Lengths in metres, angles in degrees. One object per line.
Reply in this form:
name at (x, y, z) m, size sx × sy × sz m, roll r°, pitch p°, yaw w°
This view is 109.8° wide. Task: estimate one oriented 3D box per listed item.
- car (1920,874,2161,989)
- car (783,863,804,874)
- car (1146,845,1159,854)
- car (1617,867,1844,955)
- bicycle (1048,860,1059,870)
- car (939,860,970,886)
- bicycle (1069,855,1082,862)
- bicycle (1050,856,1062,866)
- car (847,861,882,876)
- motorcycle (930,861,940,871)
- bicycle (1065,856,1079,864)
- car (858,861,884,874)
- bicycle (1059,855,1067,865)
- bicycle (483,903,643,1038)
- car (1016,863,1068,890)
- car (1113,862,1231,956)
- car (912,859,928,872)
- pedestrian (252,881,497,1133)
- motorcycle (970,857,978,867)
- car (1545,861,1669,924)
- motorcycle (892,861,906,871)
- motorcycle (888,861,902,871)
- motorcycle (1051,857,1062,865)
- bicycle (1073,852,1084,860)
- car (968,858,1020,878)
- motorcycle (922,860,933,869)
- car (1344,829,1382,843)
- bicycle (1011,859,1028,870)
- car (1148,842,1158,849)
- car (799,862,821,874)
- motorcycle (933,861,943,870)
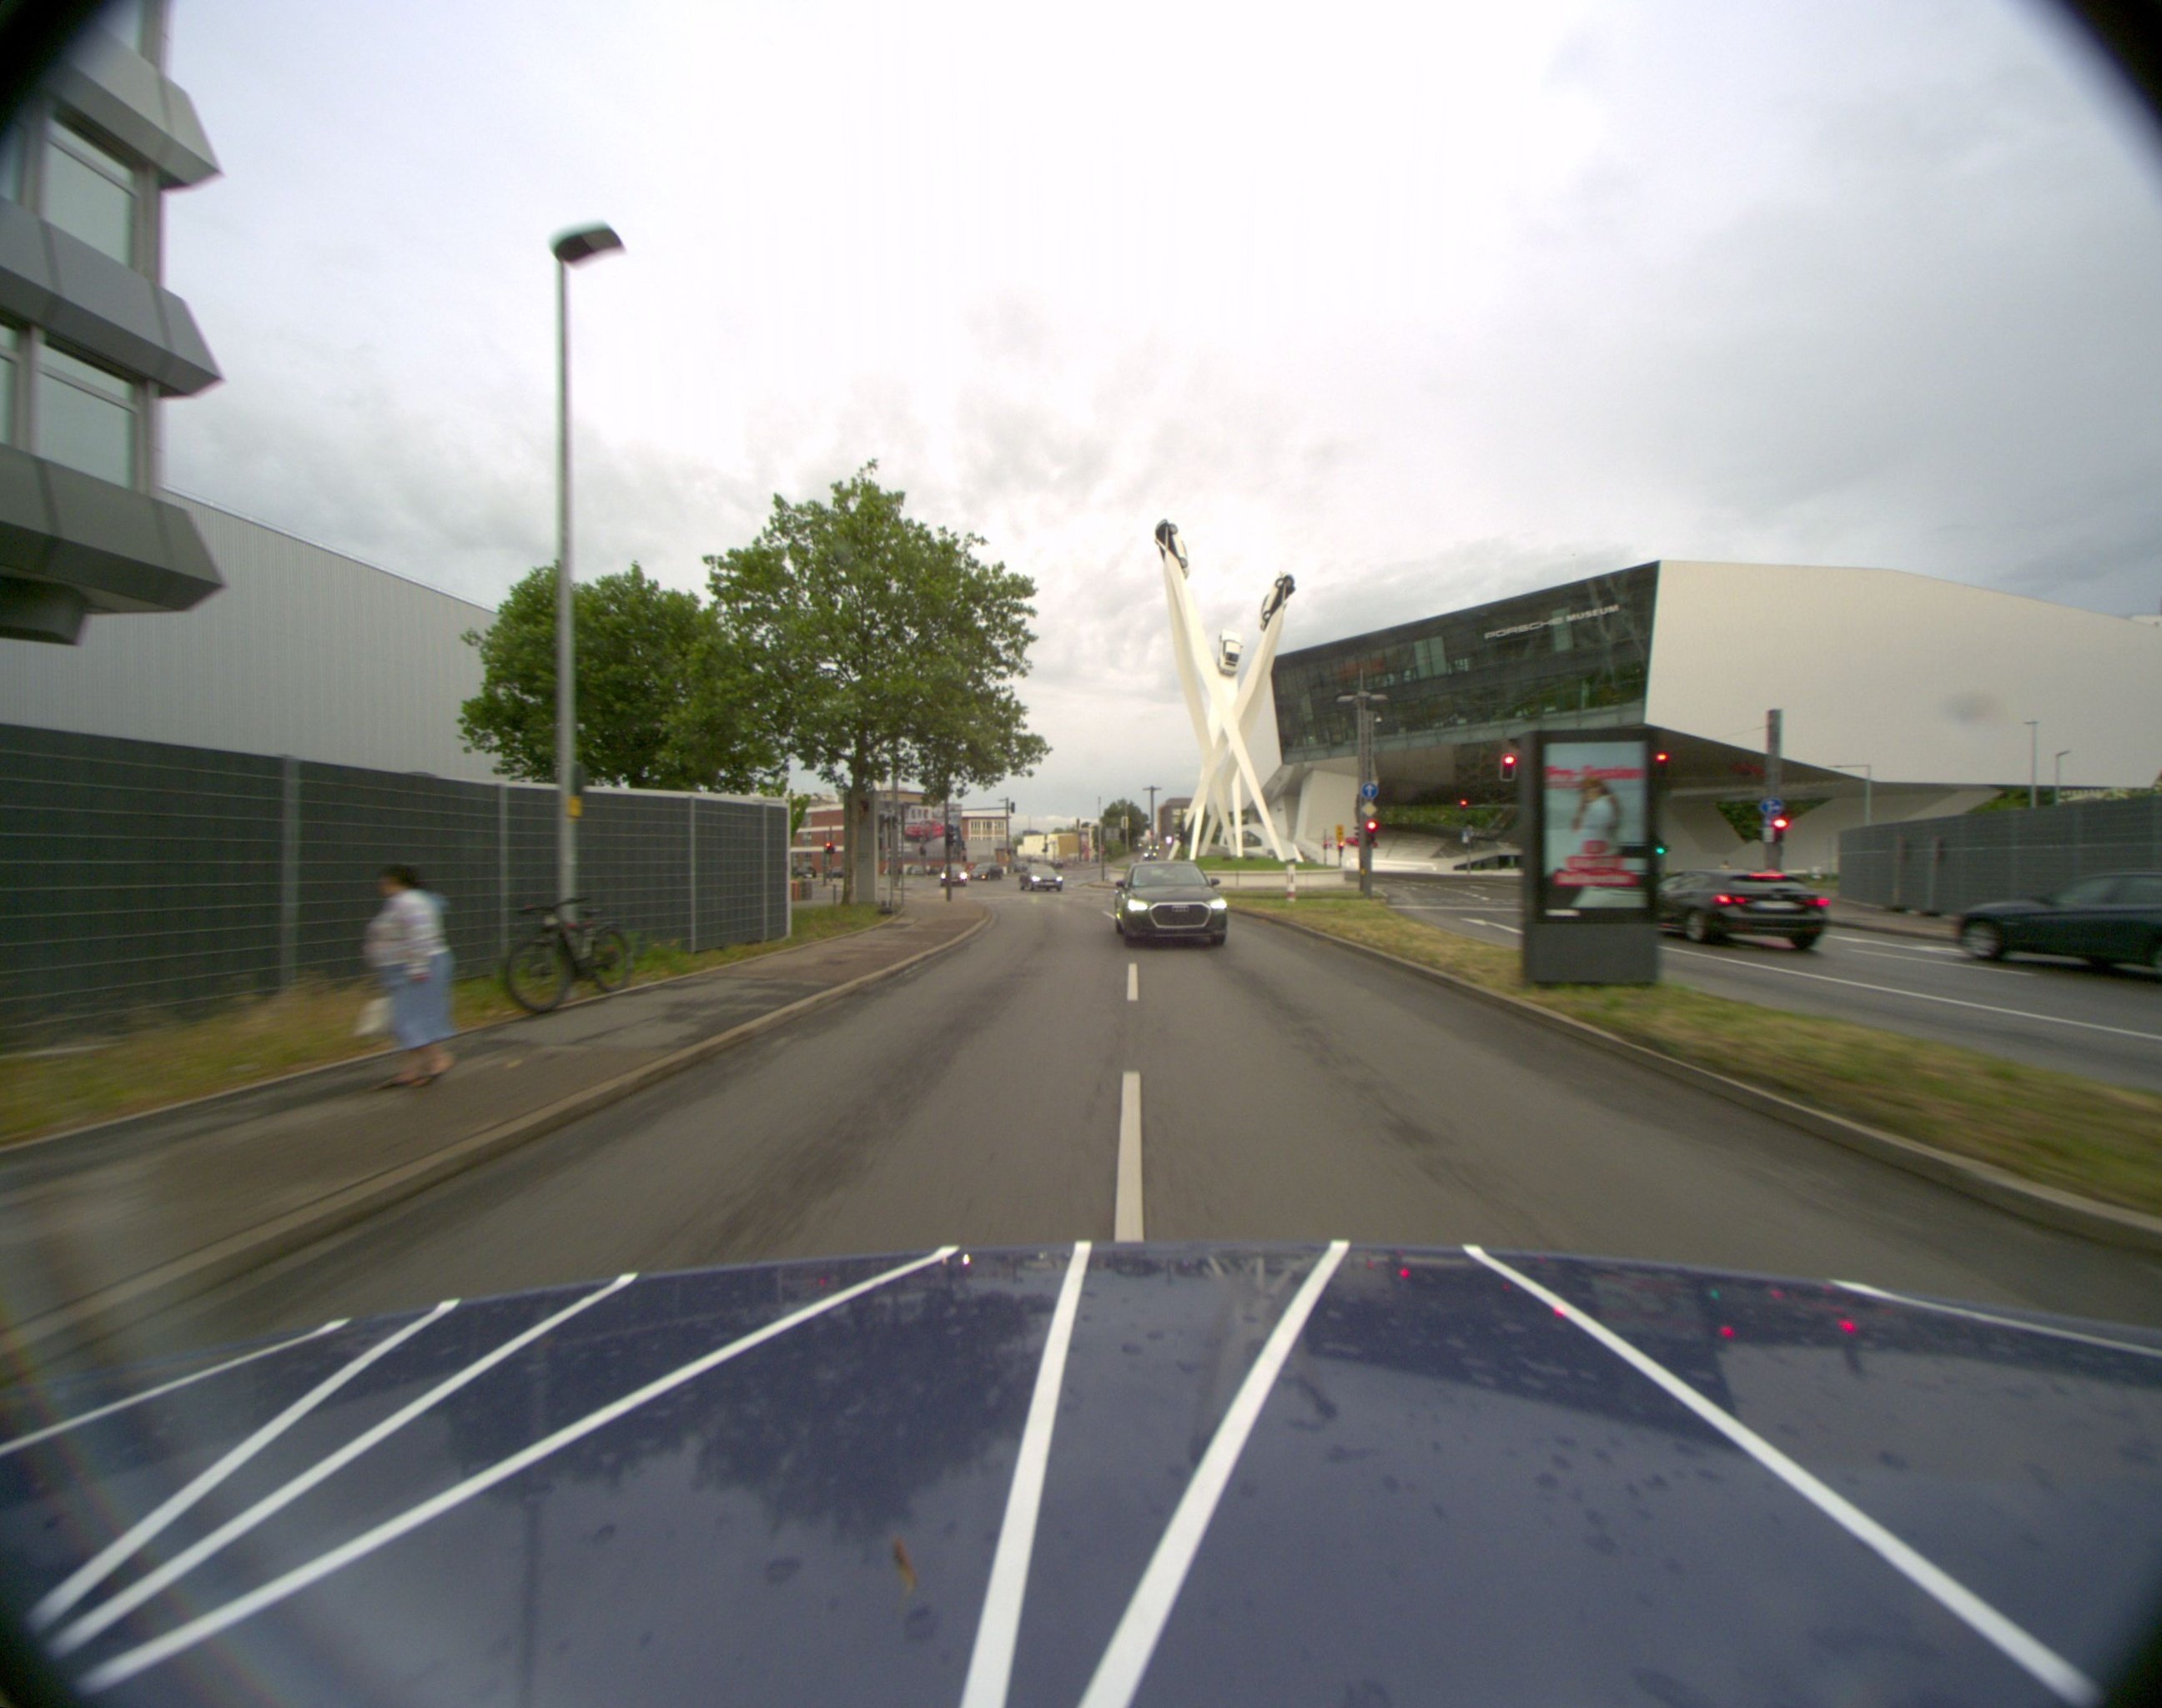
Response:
car at (15.350, 1.079, 11.049) m, size 1.786 × 1.445 × 4.564 m, roll 1°, pitch 0°, yaw 10°
car at (-40.599, 2.000, 107.173) m, size 1.462 × 1.436 × 3.379 m, roll -5°, pitch 3°, yaw -44°
car at (11.621, -0.712, 124.020) m, size 1.816 × 1.430 × 4.302 m, roll 0°, pitch 0°, yaw 2°
car at (12.812, 1.020, 15.399) m, size 1.785 × 1.431 × 4.401 m, roll 0°, pitch 0°, yaw 15°
bicycle at (-3.428, 1.350, 95.020) m, size 0.346 × 1.078 × 1.747 m, roll 1°, pitch 4°, yaw 41°
car at (-8.582, 1.245, 51.296) m, size 1.695 × 1.499 × 4.005 m, roll -3°, pitch 2°, yaw -14°
bicycle at (-0.696, 0.554, 100.516) m, size 1.613 × 0.916 × 0.422 m, roll -1°, pitch 2°, yaw 19°
bicycle at (-3.080, 0.897, 94.536) m, size 0.346 × 1.078 × 1.747 m, roll 1°, pitch 4°, yaw 41°
car at (-21.880, 1.415, 76.596) m, size 1.724 × 1.417 × 3.989 m, roll -2°, pitch 1°, yaw -43°
motorcycle at (-18.086, 1.506, 94.141) m, size 0.496 × 1.140 × 1.719 m, roll -5°, pitch 3°, yaw -38°
bicycle at (-1.117, 0.819, 97.784) m, size 1.742 × 0.956 × 0.422 m, roll -1°, pitch 3°, yaw 15°
car at (-25.993, 1.687, 94.191) m, size 2.745 × 1.484 × 1.557 m, roll -2°, pitch -1°, yaw 23°
bicycle at (-2.237, 0.746, 96.645) m, size 0.400 × 1.169 × 2.017 m, roll -1°, pitch 3°, yaw 16°
bicycle at (-5.297, 1.127, 7.922) m, size 0.342 × 1.112 × 1.973 m, roll 0°, pitch 0°, yaw -1°
car at (-2.265, 1.225, 43.247) m, size 1.820 × 1.430 × 4.295 m, roll 0°, pitch 0°, yaw -19°
car at (1.637, 0.954, 15.104) m, size 1.757 × 1.509 × 4.394 m, roll -2°, pitch 0°, yaw 0°
car at (-19.829, 1.352, 93.408) m, size 1.626 × 1.495 × 3.242 m, roll -2°, pitch 1°, yaw -18°
pedestrian at (-4.659, 0.953, 5.084) m, size 0.841 × 1.512 × 0.834 m, roll 0°, pitch 0°, yaw -2°
motorcycle at (-15.129, 1.113, 107.407) m, size 0.523 × 1.326 × 1.670 m, roll -2°, pitch 3°, yaw 7°
car at (14.916, 1.001, 21.827) m, size 1.784 × 1.579 × 4.573 m, roll 0°, pitch 0°, yaw 19°
motorcycle at (-23.370, 1.552, 97.590) m, size 1.604 × 1.114 × 0.543 m, roll -5°, pitch 3°, yaw -39°
motorcycle at (-24.019, 1.550, 98.280) m, size 1.651 × 1.105 × 0.543 m, roll -5°, pitch 3°, yaw -39°
motorcycle at (-3.087, 0.908, 96.772) m, size 0.546 × 0.890 × 1.747 m, roll 0°, pitch 3°, yaw 30°
bicycle at (-0.389, 0.239, 107.934) m, size 1.543 × 1.149 × 0.451 m, roll 0°, pitch 4°, yaw 2°
car at (-7.448, 1.163, 65.047) m, size 4.074 × 1.466 × 1.746 m, roll -4°, pitch 3°, yaw -28°
motorcycle at (-20.133, 1.356, 99.358) m, size 0.545 × 1.174 × 1.708 m, roll -5°, pitch 4°, yaw -43°
car at (37.021, -2.372, 99.843) m, size 2.004 × 1.378 × 4.229 m, roll -2°, pitch 9°, yaw -39°
bicycle at (-7.256, 1.270, 90.245) m, size 2.077 × 1.124 × 0.420 m, roll -4°, pitch 3°, yaw -36°
car at (15.326, -1.744, 162.257) m, size 1.816 × 1.430 × 4.302 m, roll 0°, pitch 0°, yaw 2°
car at (-37.078, 1.934, 103.822) m, size 1.462 × 1.436 × 3.455 m, roll -5°, pitch 3°, yaw -44°
motorcycle at (-18.897, 1.550, 100.429) m, size 0.477 × 1.113 × 1.804 m, roll -5°, pitch 3°, yaw -41°
